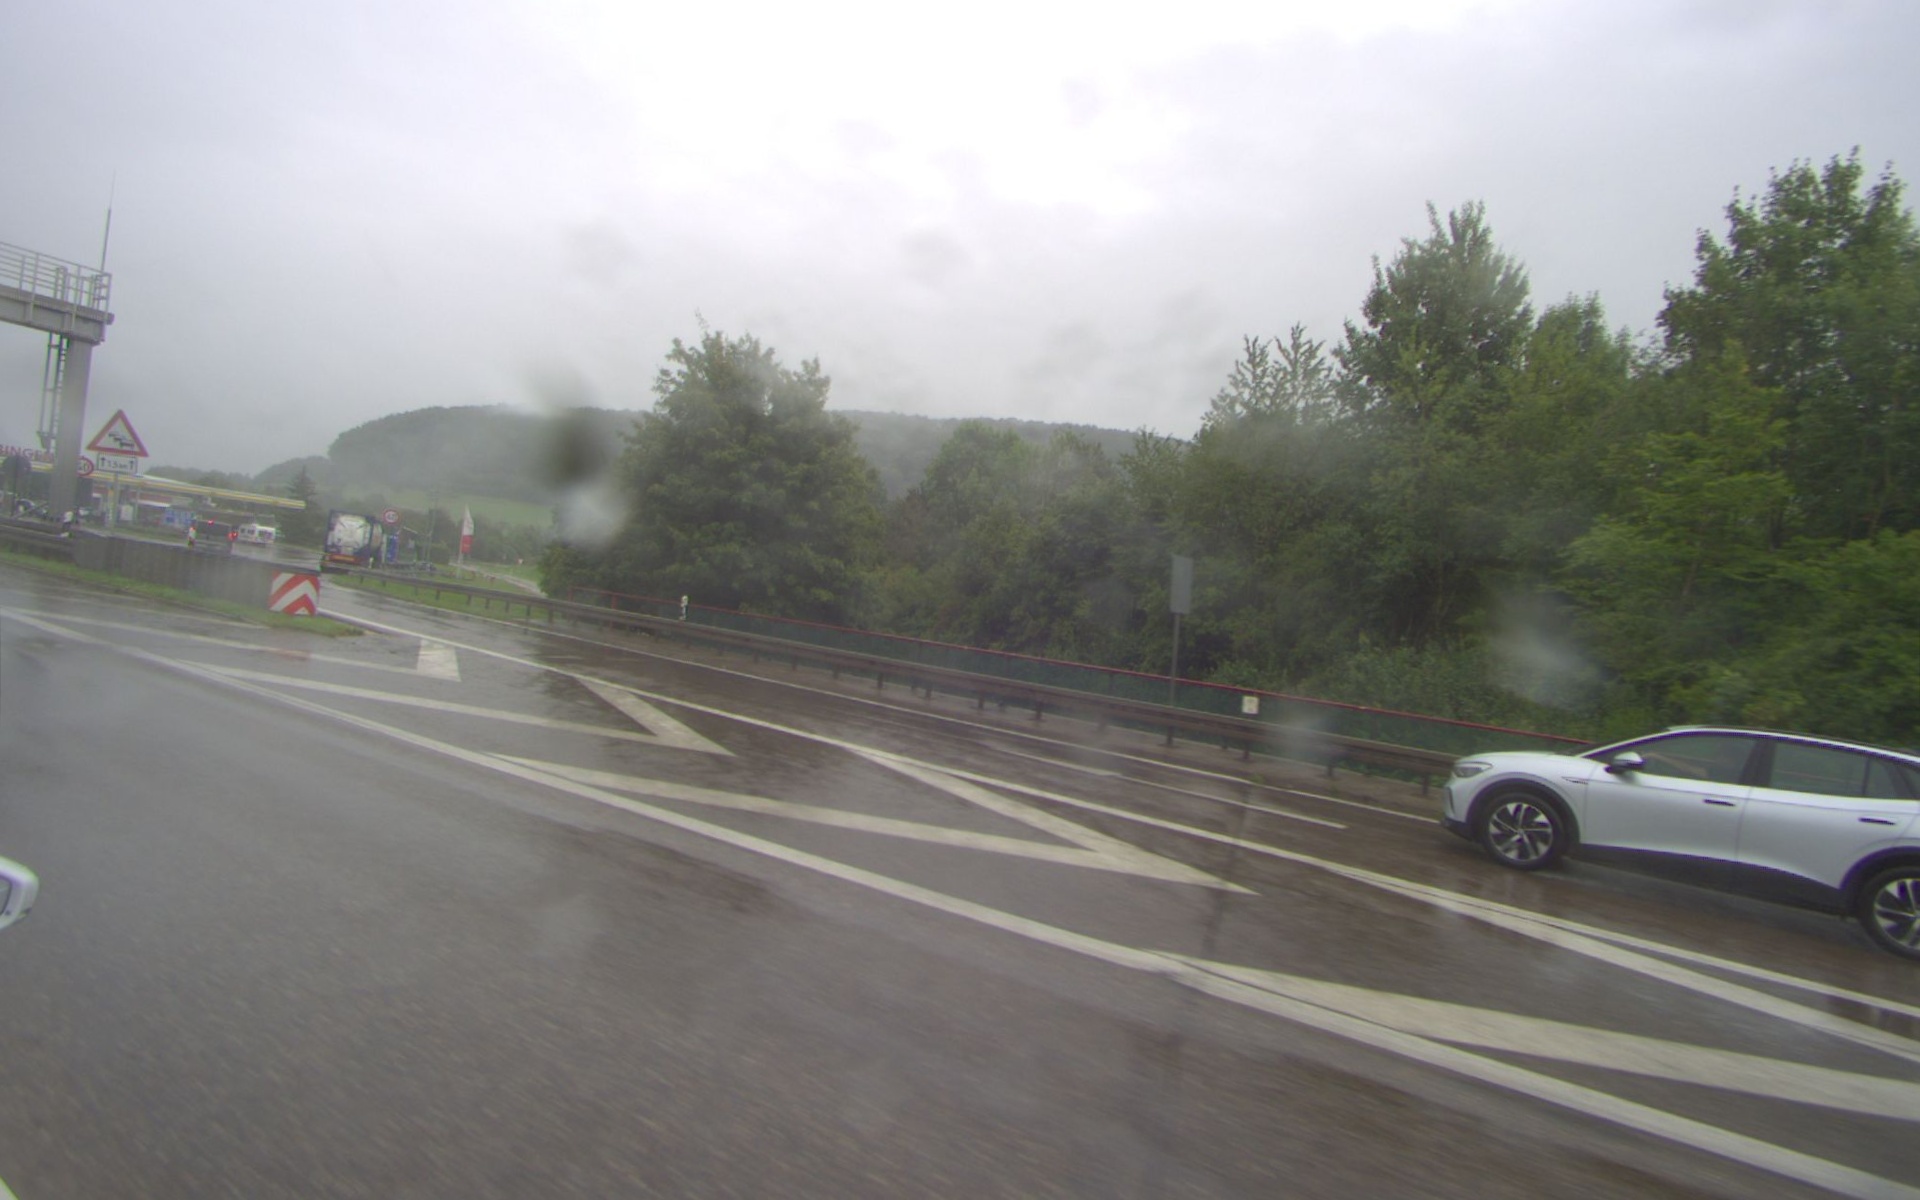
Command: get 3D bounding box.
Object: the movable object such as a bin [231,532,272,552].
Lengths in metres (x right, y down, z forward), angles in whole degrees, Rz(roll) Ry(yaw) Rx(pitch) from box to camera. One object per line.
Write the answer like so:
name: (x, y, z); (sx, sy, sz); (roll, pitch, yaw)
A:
movable object such as a bin: (-92.639, -7.602, 131.519); (5.293, 2.036, 2.171); (7, -2, 31)

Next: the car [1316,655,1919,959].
car: (6.563, 1.803, 9.484); (5.577, 1.770, 1.995); (6, -3, 37)

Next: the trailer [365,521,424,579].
trailer: (-45.739, -3.883, 81.688); (2.759, 3.944, 11.686); (8, -2, -24)

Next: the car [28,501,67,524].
car: (-111.254, -10.625, 122.661); (4.811, 2.207, 2.085); (7, -2, 32)

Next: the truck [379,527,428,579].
truck: (-48.630, -4.031, 88.036); (2.724, 3.910, 7.493); (8, -2, -24)

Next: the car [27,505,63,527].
car: (-106.402, -9.747, 116.975); (3.934, 2.036, 1.964); (6, -2, 32)

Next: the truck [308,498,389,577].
truck: (-40.070, -3.865, 66.284); (2.845, 4.304, 11.803); (8, -2, -25)

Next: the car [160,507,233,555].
car: (-40.595, -3.679, 53.437); (4.985, 2.037, 1.992); (7, -2, 42)
